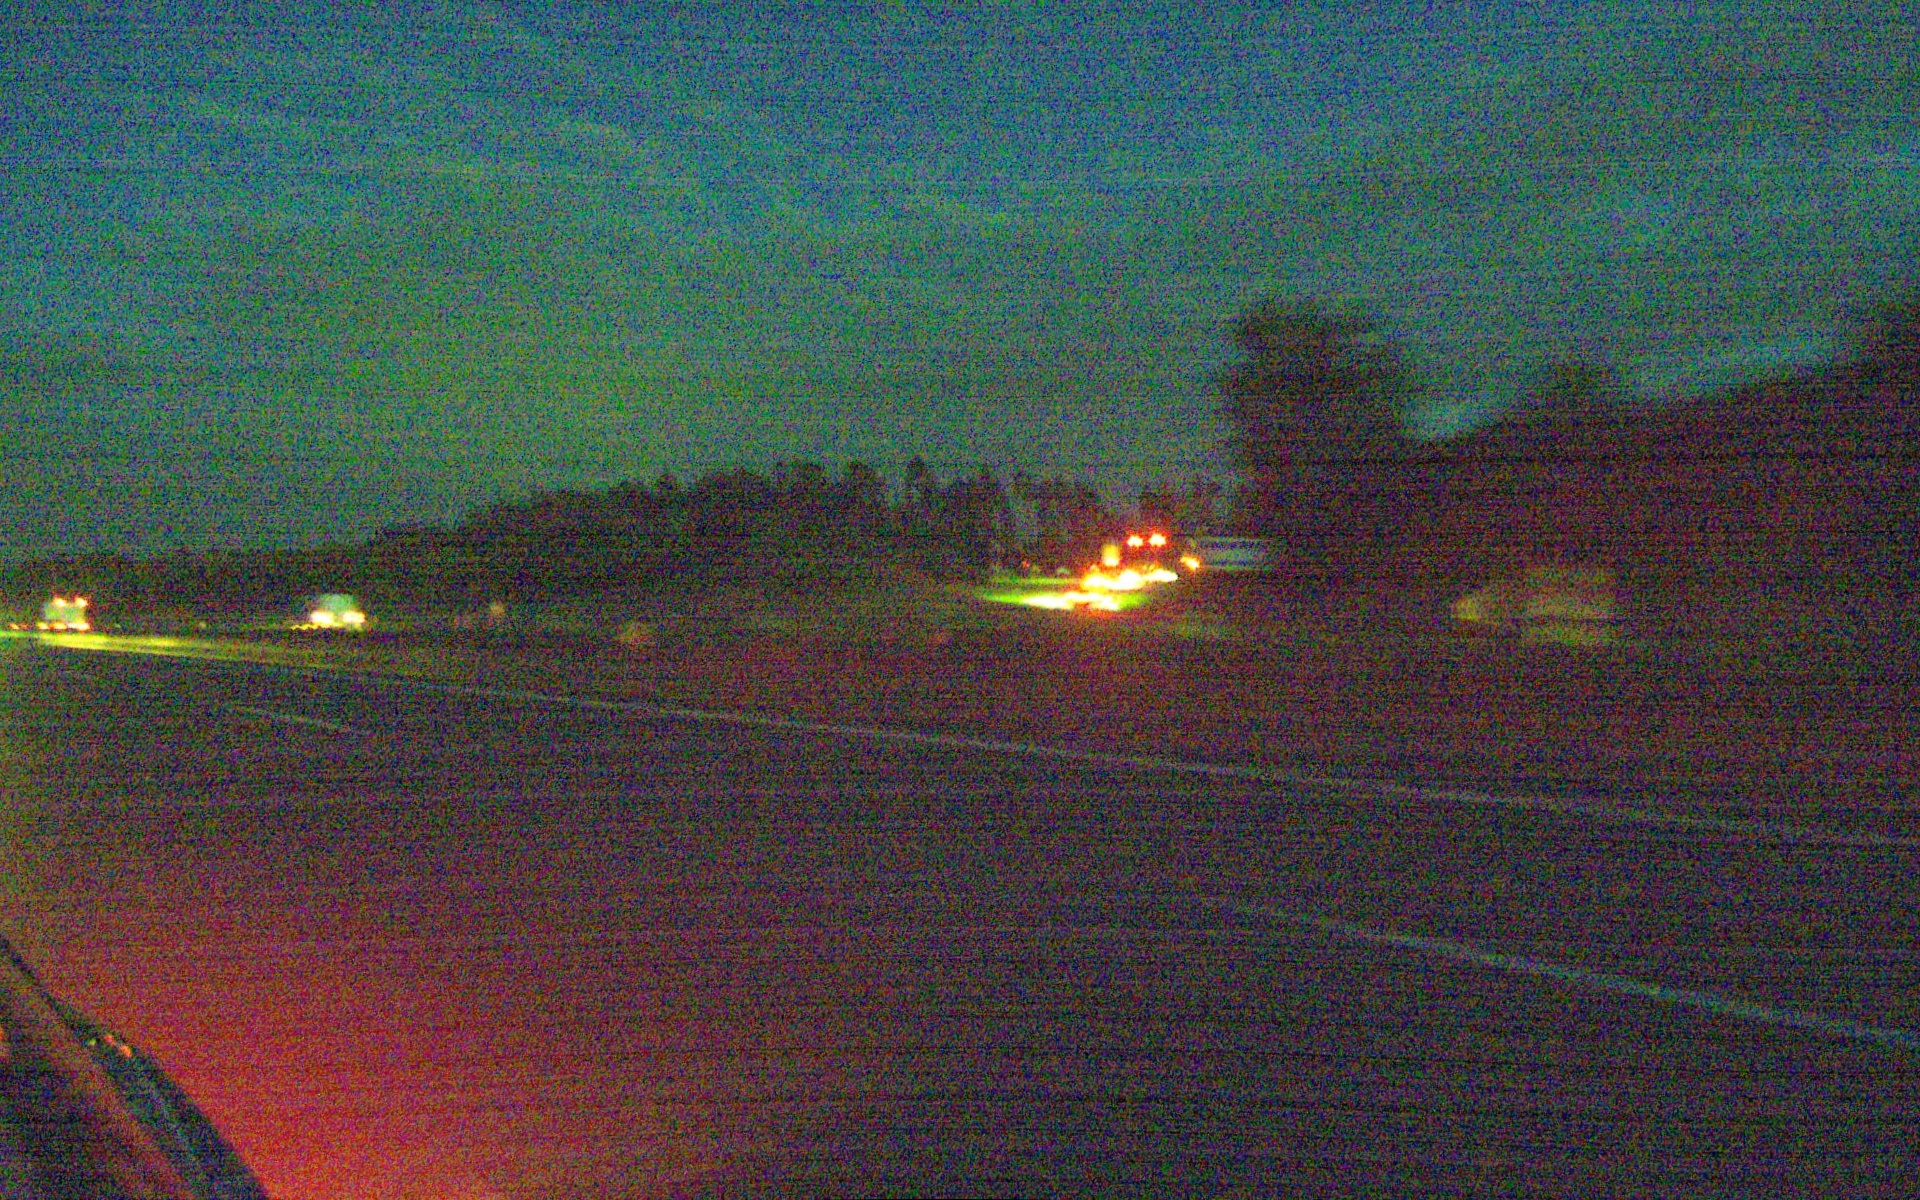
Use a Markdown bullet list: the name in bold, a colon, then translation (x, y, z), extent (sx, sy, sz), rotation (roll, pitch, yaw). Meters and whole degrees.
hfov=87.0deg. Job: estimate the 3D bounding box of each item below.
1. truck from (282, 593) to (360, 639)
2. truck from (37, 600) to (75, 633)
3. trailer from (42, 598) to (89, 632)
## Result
- **truck**: translation (-41.918, 1.103, 66.274), extent (7.622, 2.746, 2.174), rotation (-2, 2, 42)
- **truck**: translation (-131.017, 2.410, 146.604), extent (6.705, 4.467, 3.290), rotation (-2, 0, 42)
- **trailer**: translation (-124.574, 2.187, 140.801), extent (14.019, 4.467, 3.290), rotation (-2, 0, 42)
